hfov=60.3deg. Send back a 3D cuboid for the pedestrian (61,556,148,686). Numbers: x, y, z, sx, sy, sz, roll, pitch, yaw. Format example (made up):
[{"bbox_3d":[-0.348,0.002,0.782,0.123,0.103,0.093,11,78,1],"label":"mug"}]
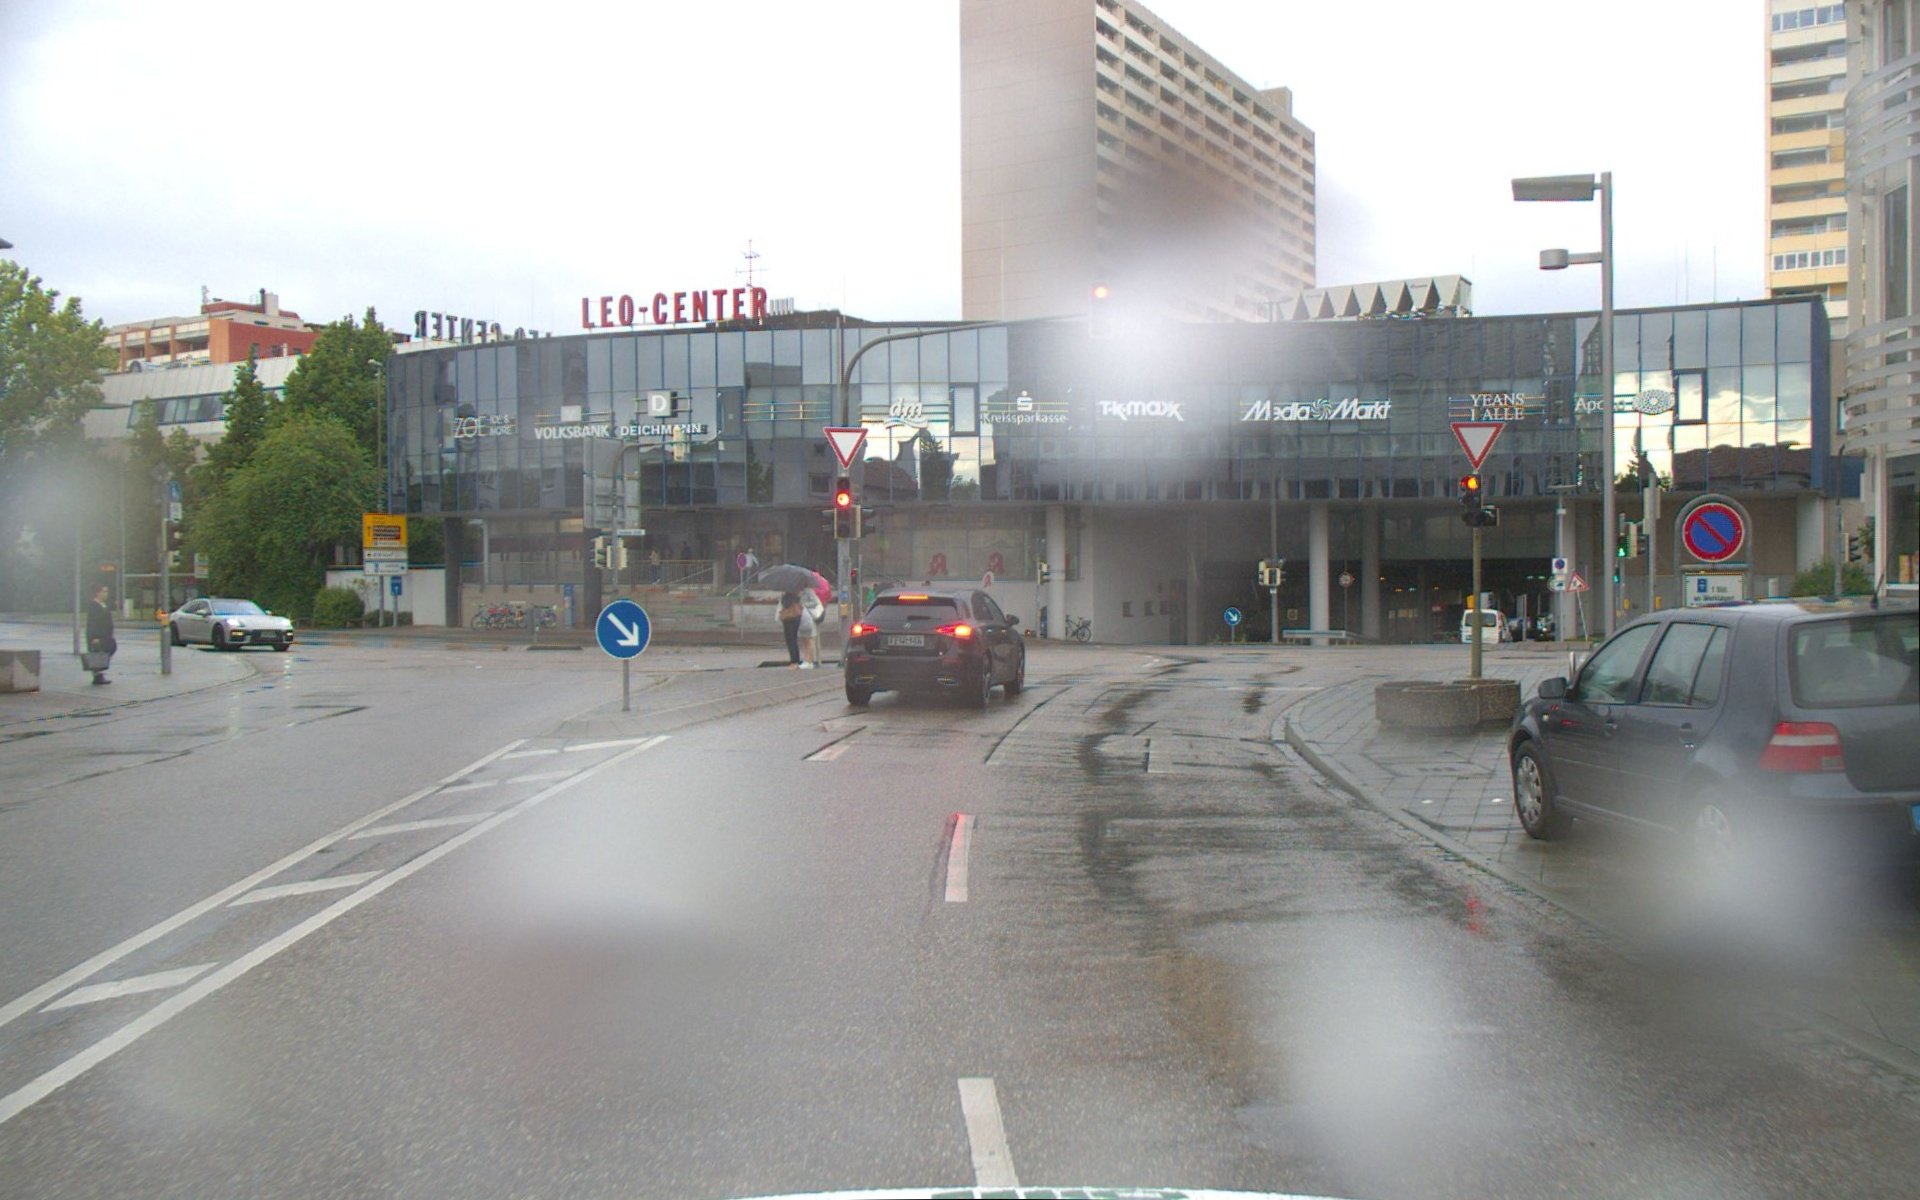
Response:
[{"bbox_3d":[-13.885,0.338,26.869,0.732,2.048,0.922,3,0,12],"label":"pedestrian"}]

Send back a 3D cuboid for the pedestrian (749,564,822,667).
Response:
[{"bbox_3d":[-2.949,0.263,27.968,0.902,1.688,0.746,3,1,-37],"label":"pedestrian"}]

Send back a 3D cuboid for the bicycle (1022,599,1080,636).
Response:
[{"bbox_3d":[3.858,0.745,70.099,2.380,1.489,0.654,-1,2,-11],"label":"bicycle"}]

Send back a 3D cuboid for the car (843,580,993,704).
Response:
[{"bbox_3d":[-0.457,0.478,21.622,1.767,1.444,4.001,-1,1,1],"label":"car"}]

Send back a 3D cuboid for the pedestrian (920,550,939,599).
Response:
[{"bbox_3d":[-1.292,-1.078,70.108,0.771,2.049,0.670,-1,0,1],"label":"pedestrian"}]

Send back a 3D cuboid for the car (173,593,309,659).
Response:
[{"bbox_3d":[-20.307,0.713,46.618,4.359,1.538,1.986,4,2,44],"label":"car"}]

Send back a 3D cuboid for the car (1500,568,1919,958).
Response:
[{"bbox_3d":[4.408,0.640,8.829,1.663,1.511,4.000,-4,1,0],"label":"car"}]

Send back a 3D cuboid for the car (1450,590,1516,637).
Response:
[{"bbox_3d":[21.009,0.529,66.350,1.954,1.747,3.997,-1,0,26],"label":"car"}]

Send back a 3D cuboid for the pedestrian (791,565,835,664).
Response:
[{"bbox_3d":[-2.573,0.248,28.925,0.599,1.688,0.670,3,1,-14],"label":"pedestrian"}]
